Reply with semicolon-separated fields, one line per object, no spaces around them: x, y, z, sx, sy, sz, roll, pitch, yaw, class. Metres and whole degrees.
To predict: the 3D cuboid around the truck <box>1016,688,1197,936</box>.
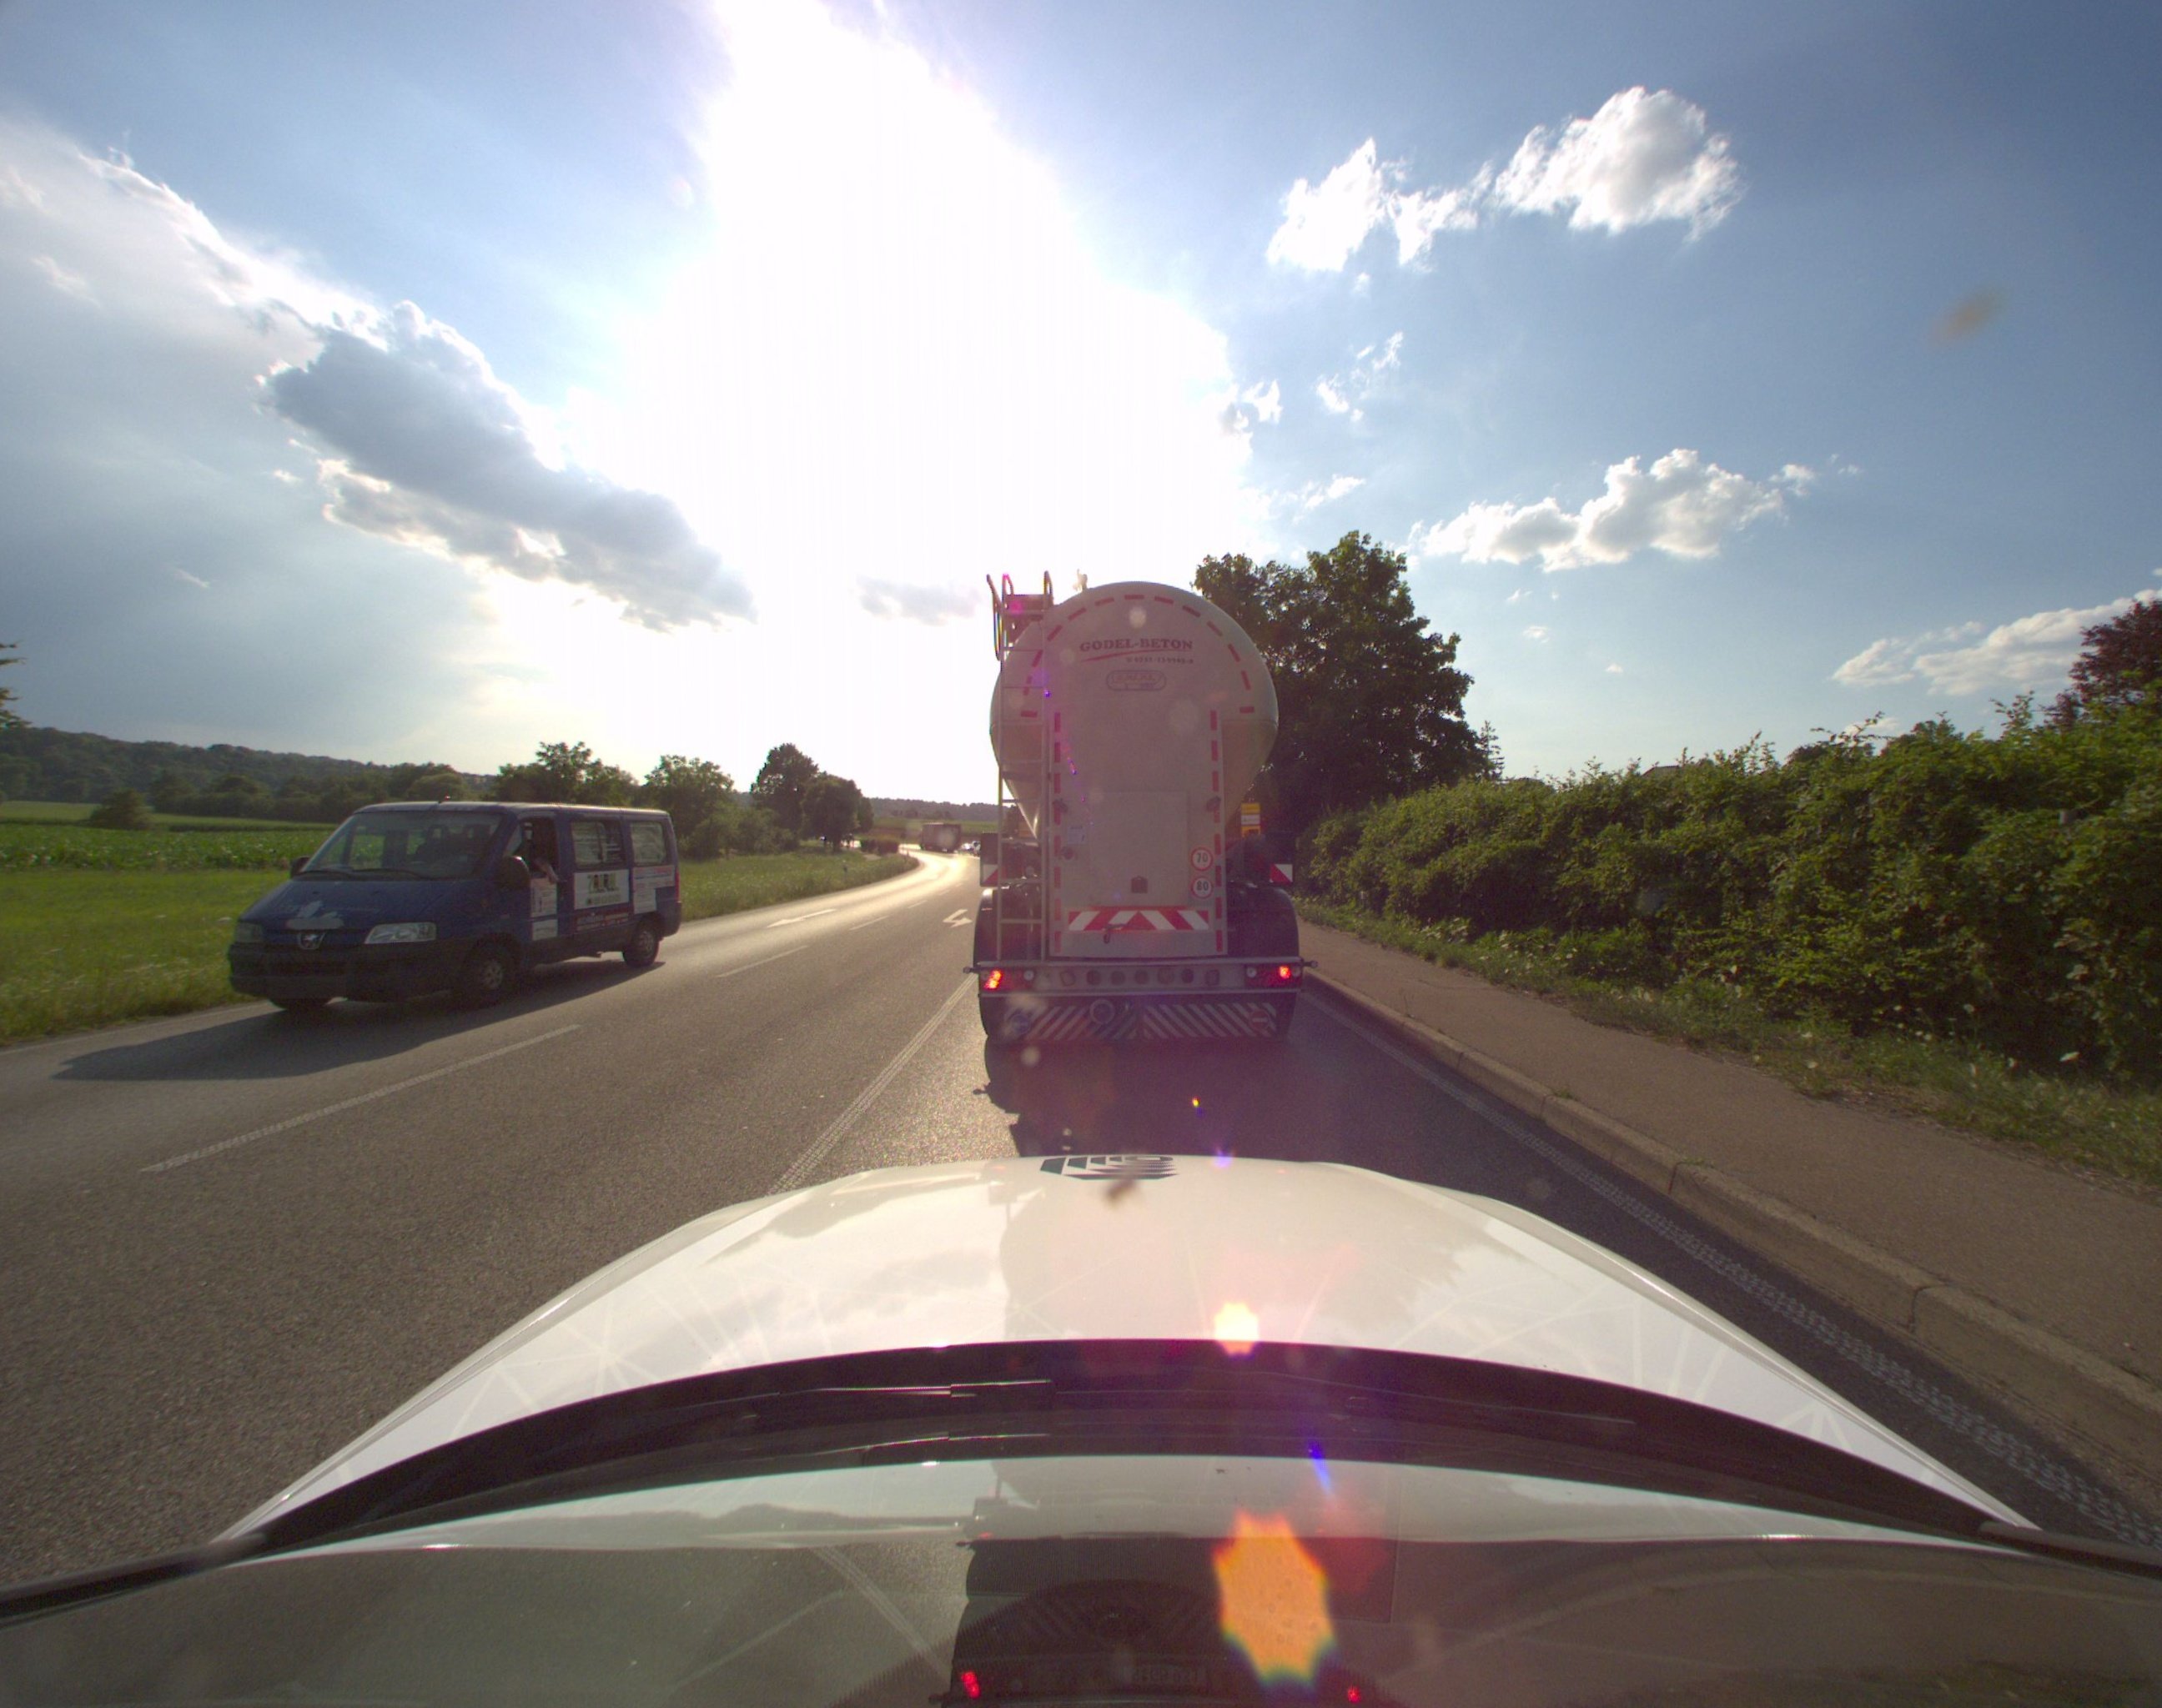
0.379;-0.692;15.226;2.901;4.006;4.058;0;0;-1;truck

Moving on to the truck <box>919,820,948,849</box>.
-23.300;-3.007;128.195;3.388;4.350;5.665;1;0;-21;truck

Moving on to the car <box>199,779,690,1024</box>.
-6.711;0.415;9.517;1.992;2.136;4.777;0;0;-1;car

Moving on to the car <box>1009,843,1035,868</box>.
-4.899;0.115;67.543;1.861;2.013;3.708;0;0;-9;car

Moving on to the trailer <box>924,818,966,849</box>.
-20.265;-2.906;120.380;3.388;4.350;14.192;1;0;-21;trailer

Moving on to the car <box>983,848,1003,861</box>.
-9.548;0.076;88.255;1.583;1.340;3.407;1;0;-16;car

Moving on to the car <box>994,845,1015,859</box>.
-7.700;-0.200;81.971;1.583;1.340;3.407;1;0;-16;car

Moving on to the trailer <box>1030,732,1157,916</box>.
0.543;-0.744;26.345;2.943;4.315;14.182;1;0;2;trailer

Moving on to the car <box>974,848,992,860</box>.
-11.578;-0.024;96.262;1.583;1.340;3.407;1;0;-16;car

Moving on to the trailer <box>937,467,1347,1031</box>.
0.413;-0.770;10.779;2.900;4.006;9.927;0;0;0;trailer

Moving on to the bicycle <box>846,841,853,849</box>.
-34.423;-1.309;120.977;0.634;1.074;1.667;2;0;-6;bicycle

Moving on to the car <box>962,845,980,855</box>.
-13.927;-0.556;102.660;1.773;1.206;3.407;1;0;-16;car
